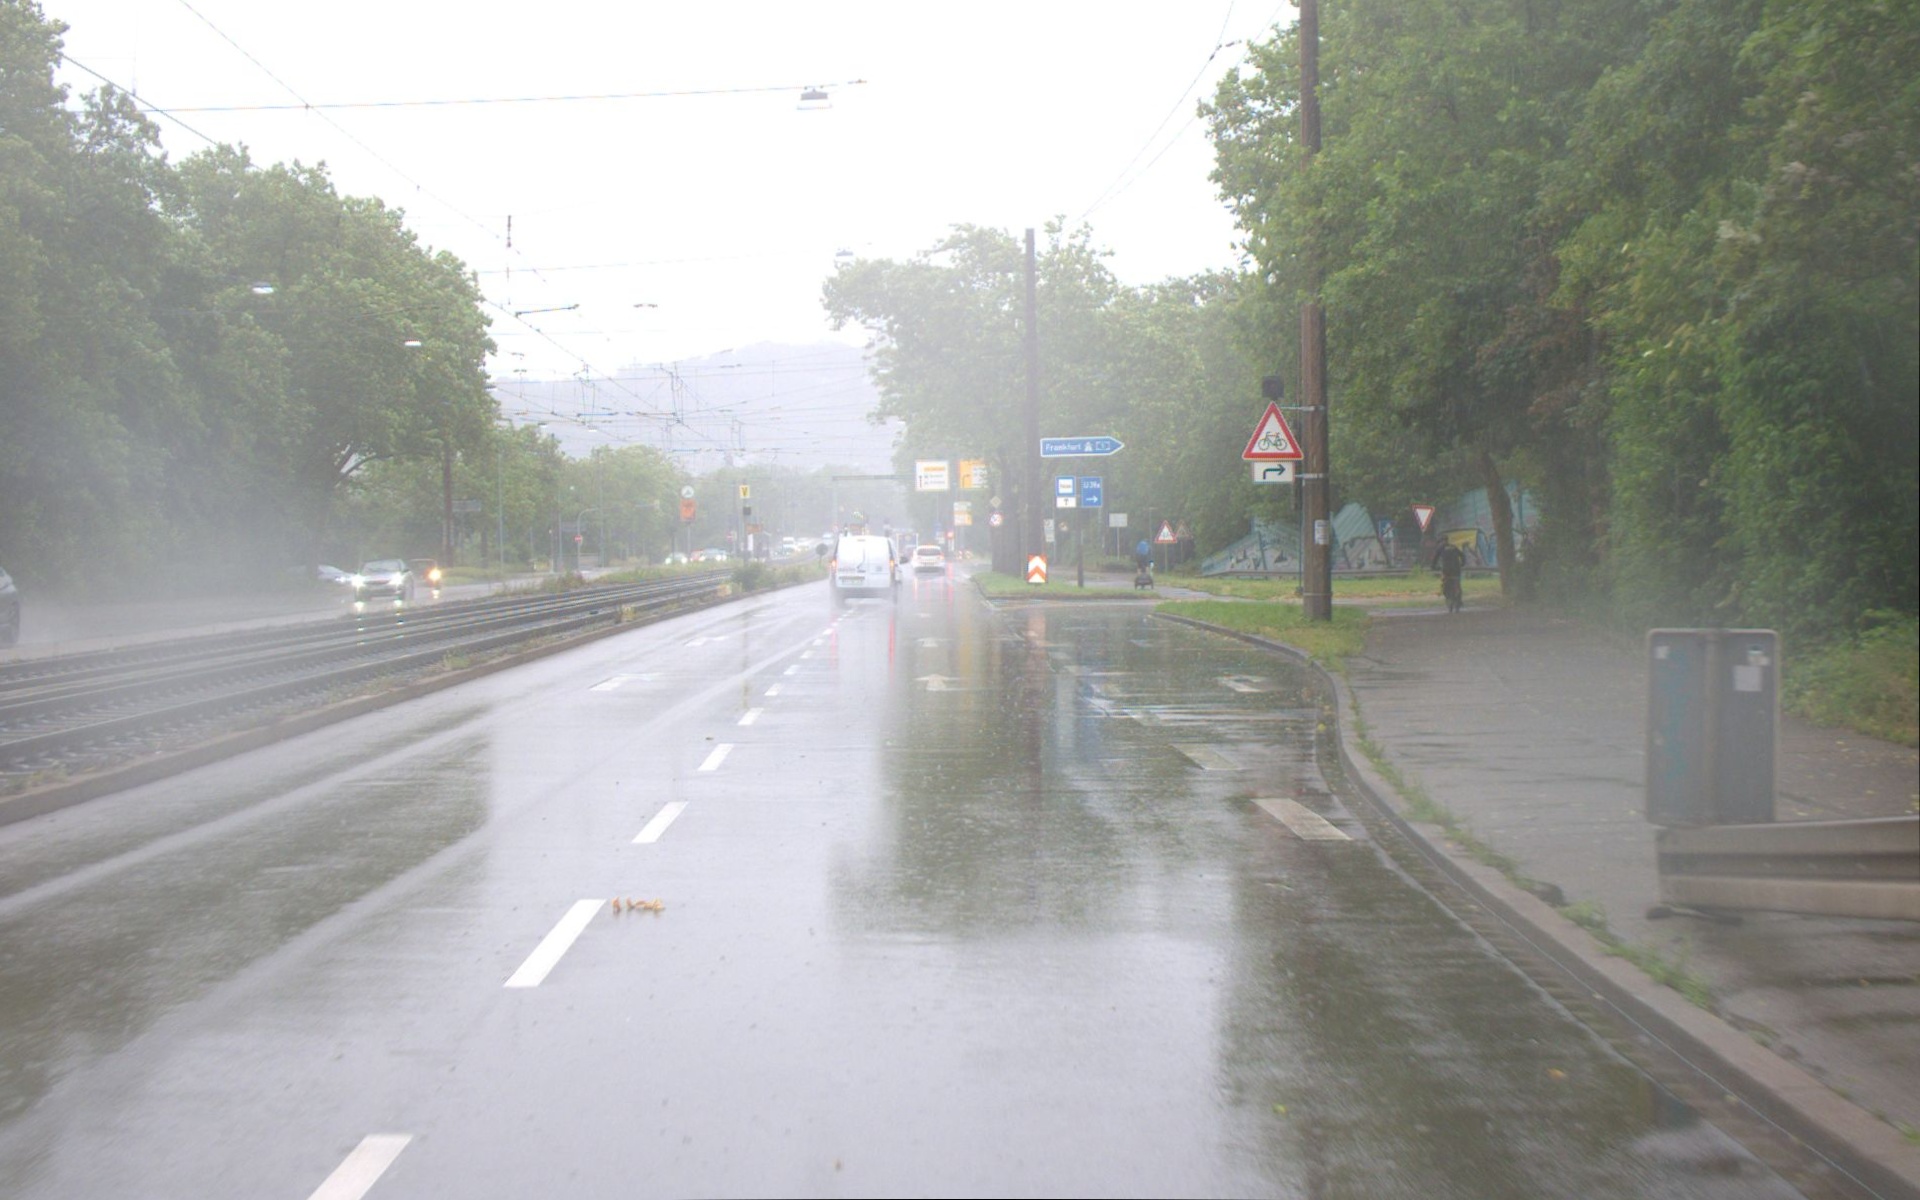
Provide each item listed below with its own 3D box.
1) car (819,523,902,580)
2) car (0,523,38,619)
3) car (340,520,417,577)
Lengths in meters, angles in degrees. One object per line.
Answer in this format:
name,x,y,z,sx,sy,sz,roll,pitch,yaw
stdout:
car,-2.580,-1.278,90.184,2.077,1.415,4.000,-1,1,-1
car,-17.989,-0.511,61.198,1.993,1.666,4.873,0,2,-2
car,-20.252,-1.828,119.901,1.993,1.776,4.001,4,2,-2
